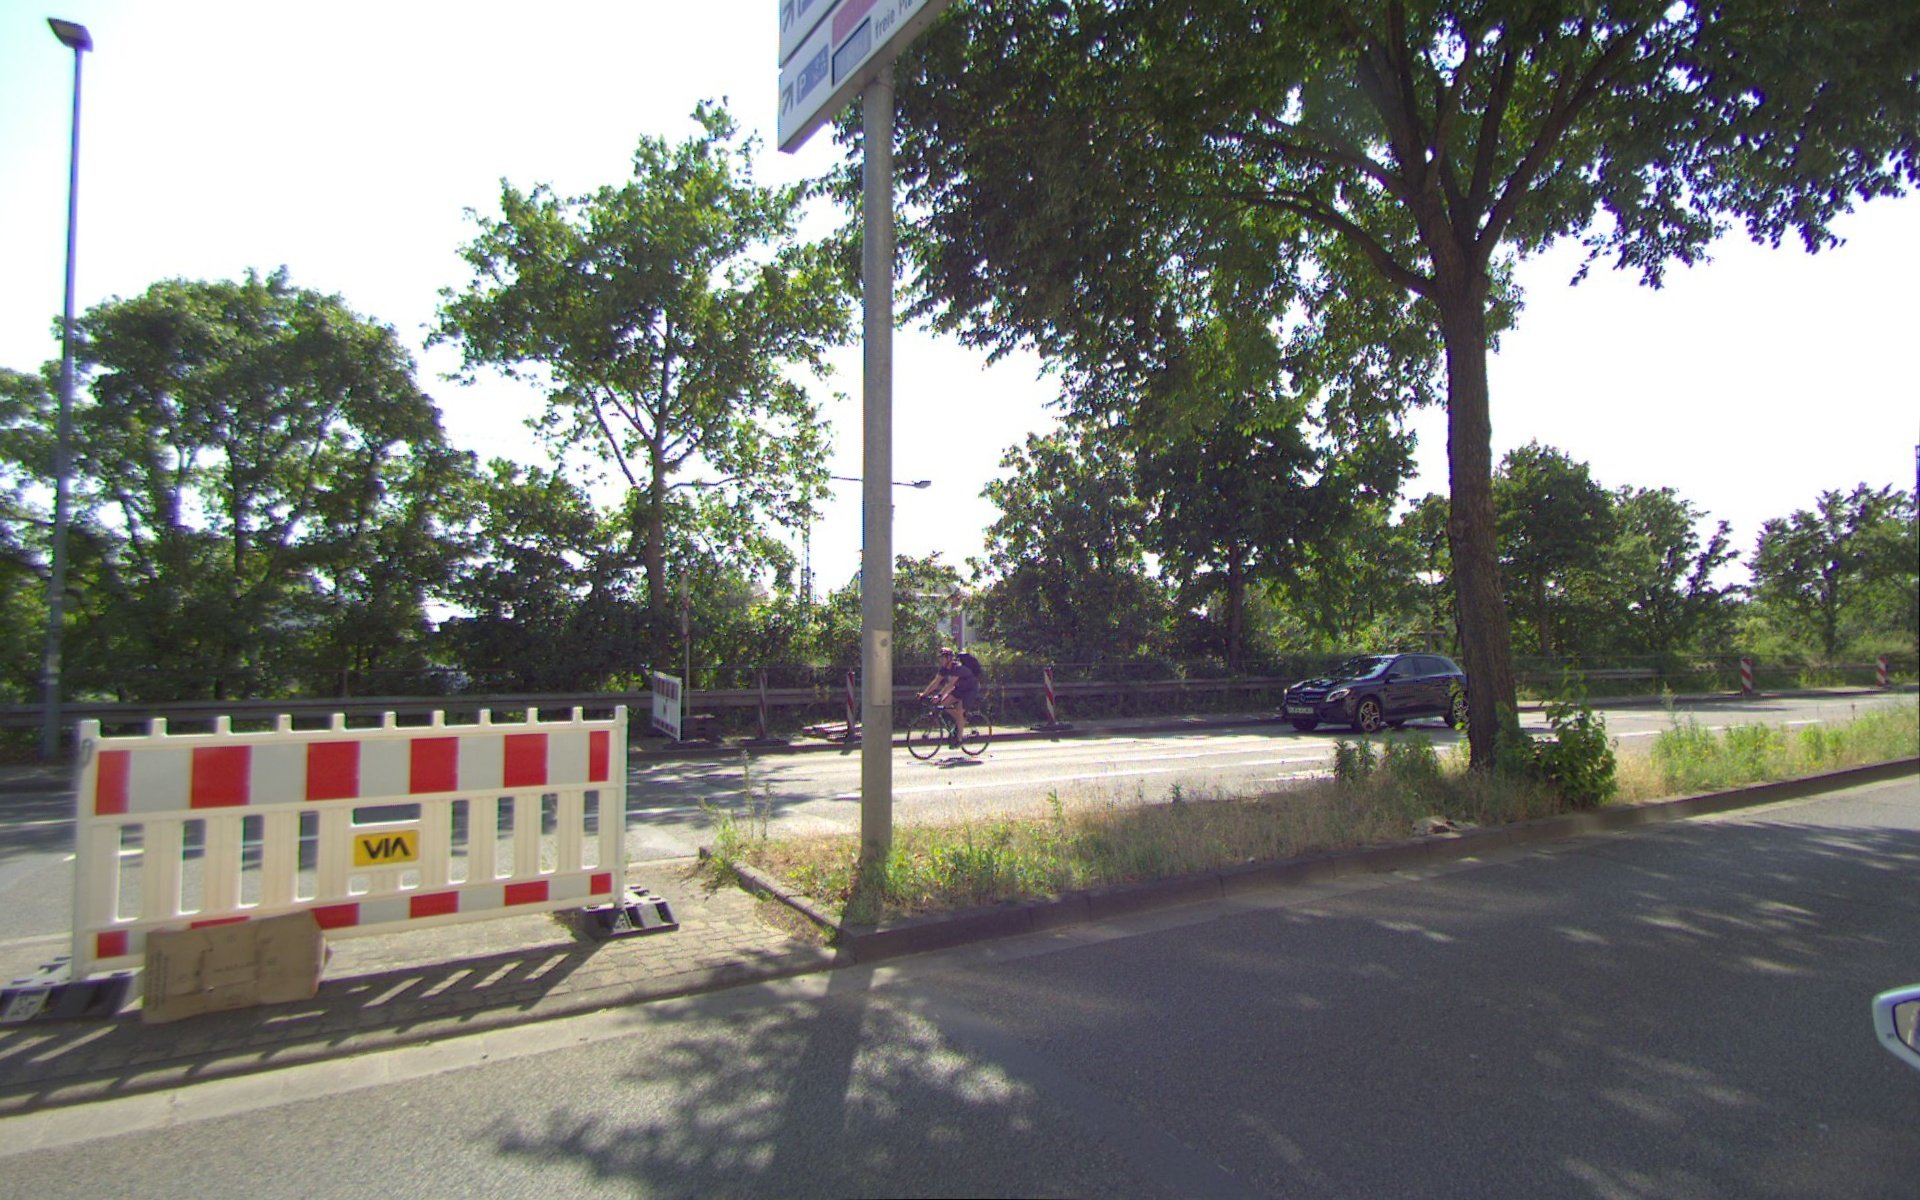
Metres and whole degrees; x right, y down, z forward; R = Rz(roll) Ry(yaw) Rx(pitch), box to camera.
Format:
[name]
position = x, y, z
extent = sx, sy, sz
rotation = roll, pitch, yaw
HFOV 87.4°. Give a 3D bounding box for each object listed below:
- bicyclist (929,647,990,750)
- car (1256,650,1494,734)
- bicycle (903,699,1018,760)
[bicyclist]
position = -0.008, 1.520, 15.642
extent = 0.769, 1.554, 0.571
rotation = 2, -3, -30
[car]
position = 8.492, 1.818, 20.503
extent = 4.639, 1.548, 1.987
rotation = 2, -5, -28
[bicycle]
position = 0.025, 1.991, 15.640
extent = 1.784, 0.843, 0.492
rotation = 2, -3, -30
